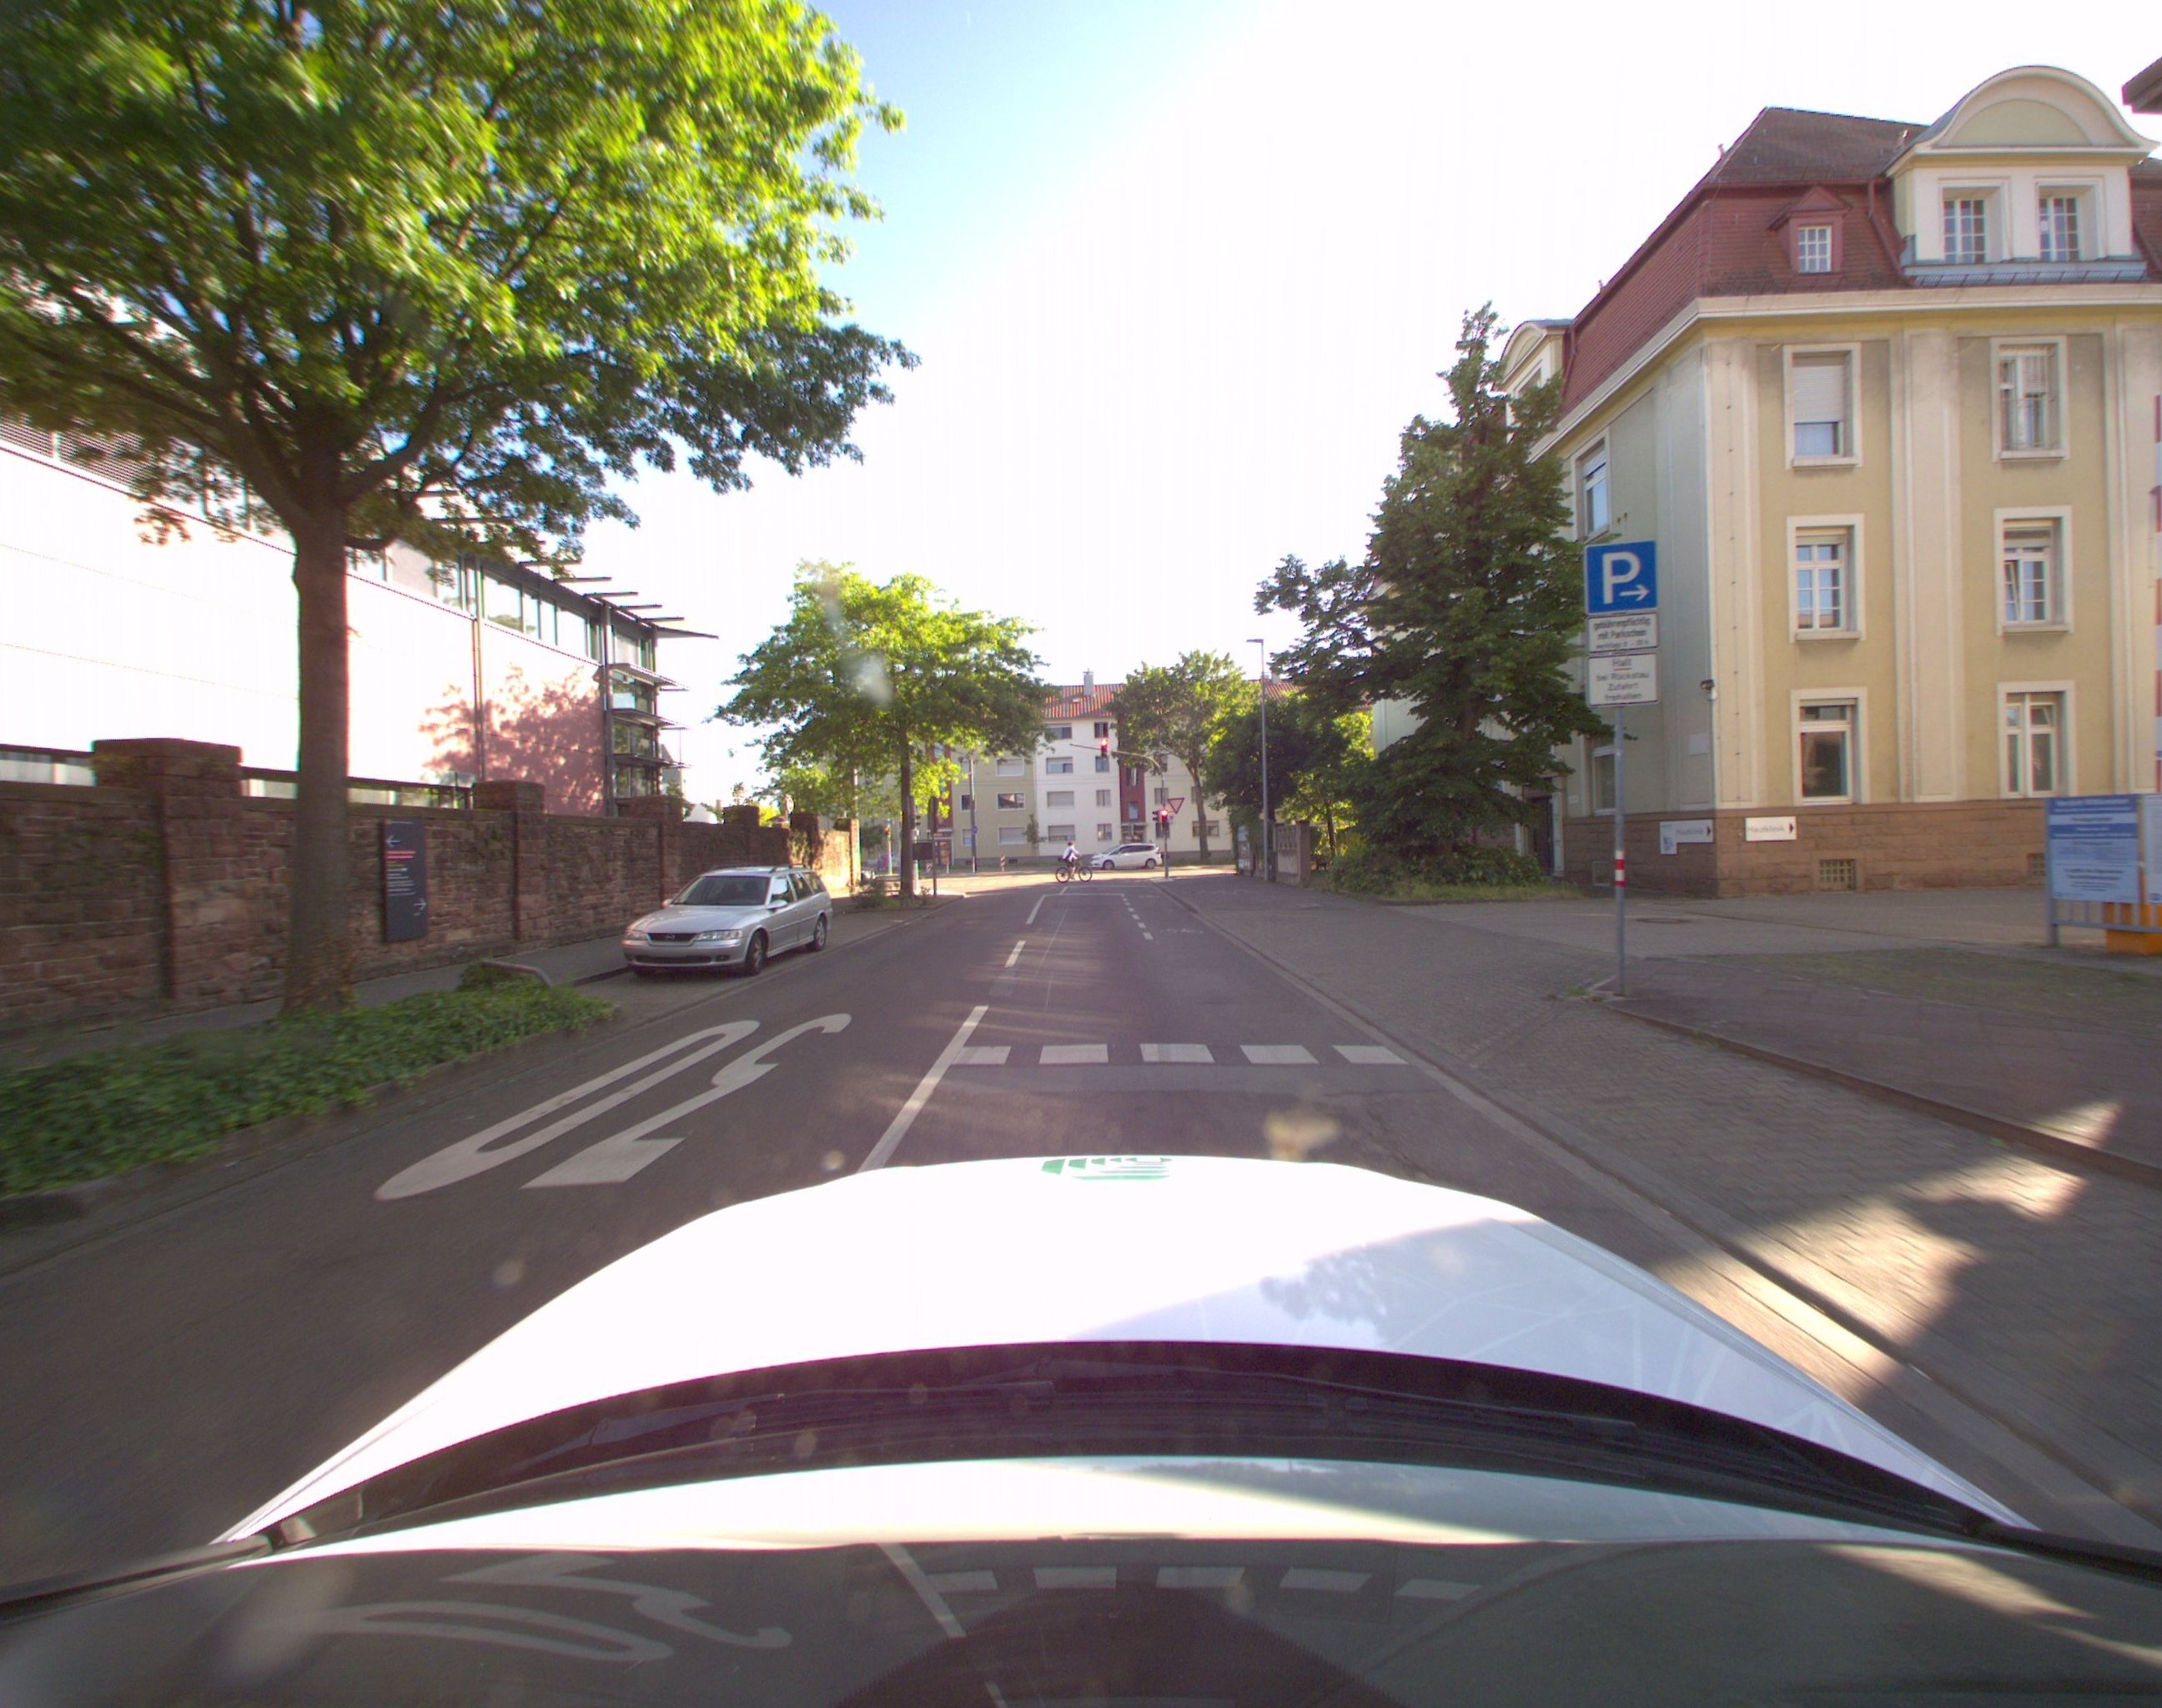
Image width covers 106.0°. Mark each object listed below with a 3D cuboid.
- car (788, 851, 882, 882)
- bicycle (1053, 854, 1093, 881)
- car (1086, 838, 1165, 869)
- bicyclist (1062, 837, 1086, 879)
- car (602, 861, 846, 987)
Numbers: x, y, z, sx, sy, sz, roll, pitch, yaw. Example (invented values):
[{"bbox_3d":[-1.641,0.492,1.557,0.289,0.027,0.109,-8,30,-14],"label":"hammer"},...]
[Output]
[{"bbox_3d":[-12.410,0.598,41.244,4.183,1.421,1.851,-1,1,-3],"label":"car"},{"bbox_3d":[-0.357,0.589,35.145,1.690,1.080,0.349,-3,1,-22],"label":"bicycle"},{"bbox_3d":[2.841,-0.055,52.154,4.664,1.739,1.992,-2,1,-12],"label":"car"},{"bbox_3d":[-0.289,0.158,35.200,0.790,1.757,0.607,-2,1,-24],"label":"bicyclist"},{"bbox_3d":[-5.135,0.900,12.488,1.720,1.475,4.478,0,1,0],"label":"car"}]
